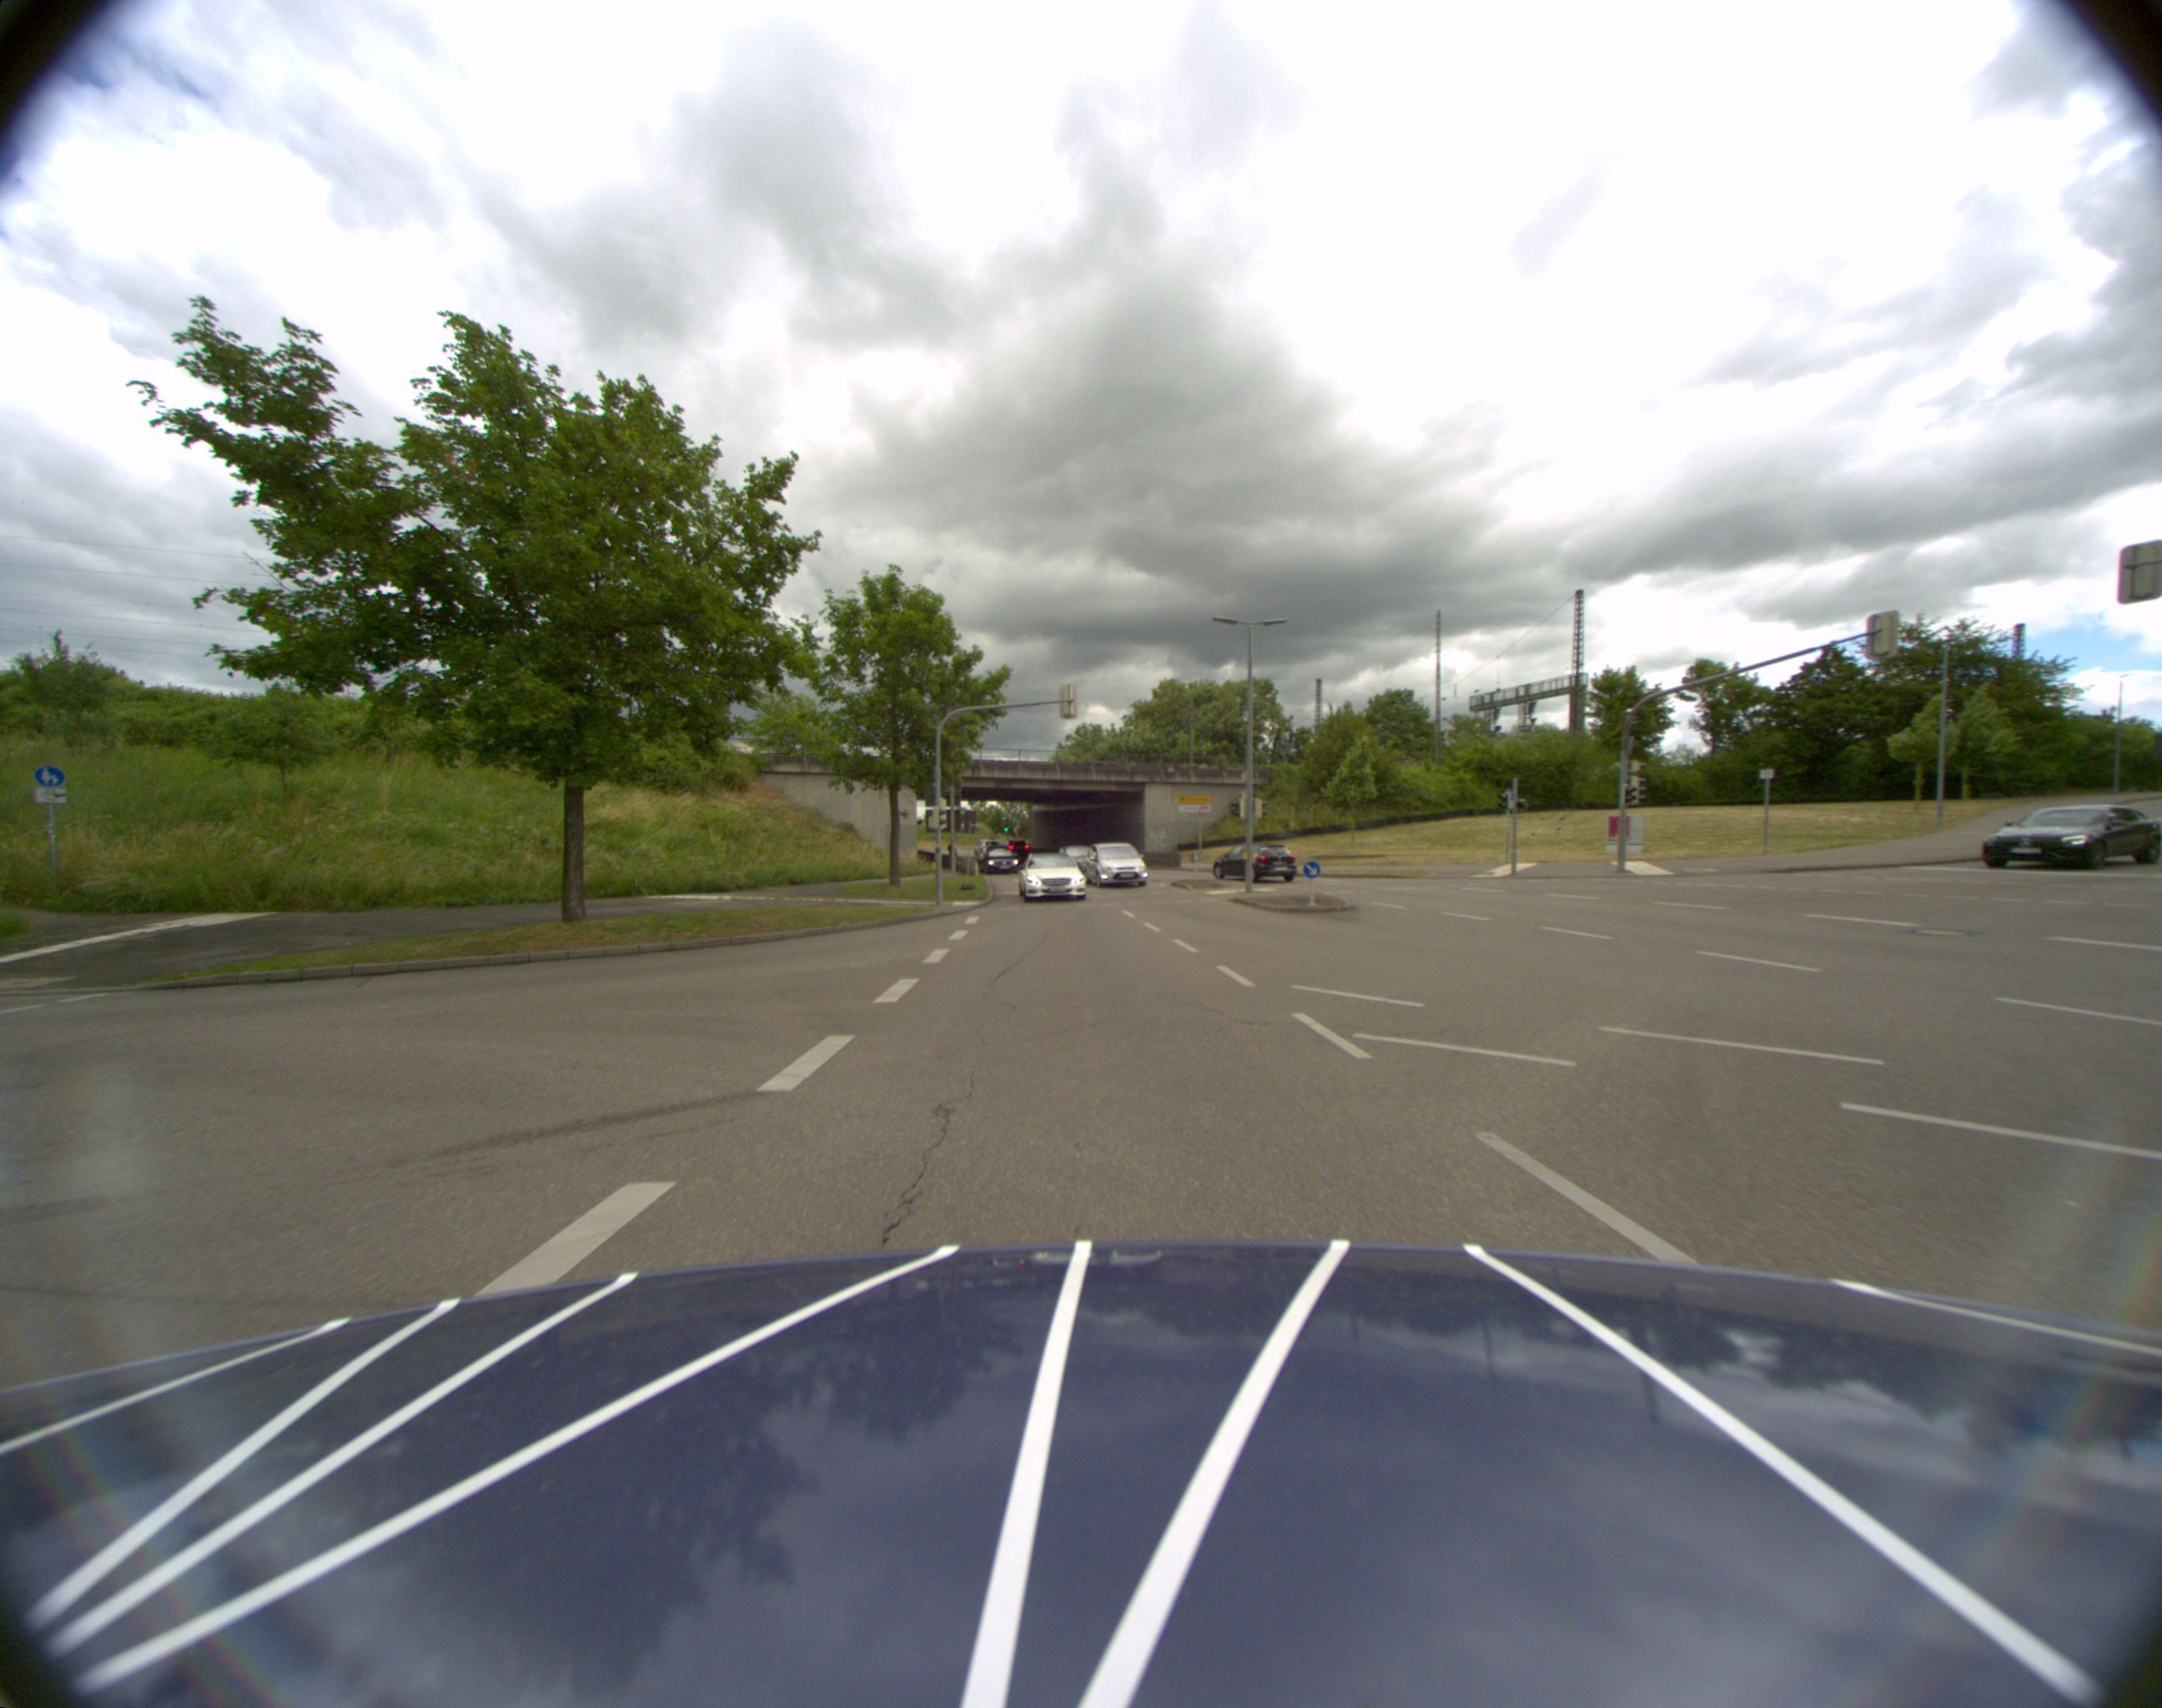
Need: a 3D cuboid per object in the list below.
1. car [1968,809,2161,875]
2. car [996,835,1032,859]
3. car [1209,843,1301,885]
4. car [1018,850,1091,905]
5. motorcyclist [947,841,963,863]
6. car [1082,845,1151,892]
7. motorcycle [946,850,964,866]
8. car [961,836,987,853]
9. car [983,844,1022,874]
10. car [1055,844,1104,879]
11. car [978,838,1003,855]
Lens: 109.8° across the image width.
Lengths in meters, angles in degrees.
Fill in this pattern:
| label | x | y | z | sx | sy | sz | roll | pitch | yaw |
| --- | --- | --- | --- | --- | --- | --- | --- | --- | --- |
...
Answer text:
| label | x | y | z | sx | sy | sz | roll | pitch | yaw |
| --- | --- | --- | --- | --- | --- | --- | --- | --- | --- |
| car | 26.391 | -0.352 | 20.303 | 4.266 | 1.542 | 2.107 | -3 | 2 | -19 |
| car | -5.437 | -0.597 | 61.414 | 1.967 | 1.781 | 3.993 | -3 | 1 | -19 |
| car | 6.588 | 0.373 | 29.280 | 1.761 | 1.446 | 4.063 | -2 | 0 | -14 |
| car | -0.940 | 0.672 | 24.267 | 1.906 | 1.471 | 4.091 | -2 | 1 | -7 |
| motorcyclist | -9.408 | -0.149 | 56.675 | 0.884 | 1.596 | 1.241 | -2 | 1 | -20 |
| car | 1.299 | 0.488 | 29.580 | 1.831 | 1.629 | 4.508 | -2 | 1 | -8 |
| motorcycle | -9.413 | 0.283 | 56.739 | 0.884 | 1.098 | 2.356 | -2 | 1 | -20 |
| car | -11.016 | -0.983 | 77.932 | 1.761 | 1.610 | 4.363 | -3 | 1 | -20 |
| car | -4.448 | 0.222 | 42.753 | 1.760 | 1.532 | 3.995 | -2 | 1 | -11 |
| car | -0.125 | 0.317 | 37.292 | 1.760 | 1.525 | 4.250 | -2 | 1 | -8 |
| car | -8.452 | -0.716 | 70.748 | 1.761 | 1.505 | 3.882 | -2 | 1 | -16 |
